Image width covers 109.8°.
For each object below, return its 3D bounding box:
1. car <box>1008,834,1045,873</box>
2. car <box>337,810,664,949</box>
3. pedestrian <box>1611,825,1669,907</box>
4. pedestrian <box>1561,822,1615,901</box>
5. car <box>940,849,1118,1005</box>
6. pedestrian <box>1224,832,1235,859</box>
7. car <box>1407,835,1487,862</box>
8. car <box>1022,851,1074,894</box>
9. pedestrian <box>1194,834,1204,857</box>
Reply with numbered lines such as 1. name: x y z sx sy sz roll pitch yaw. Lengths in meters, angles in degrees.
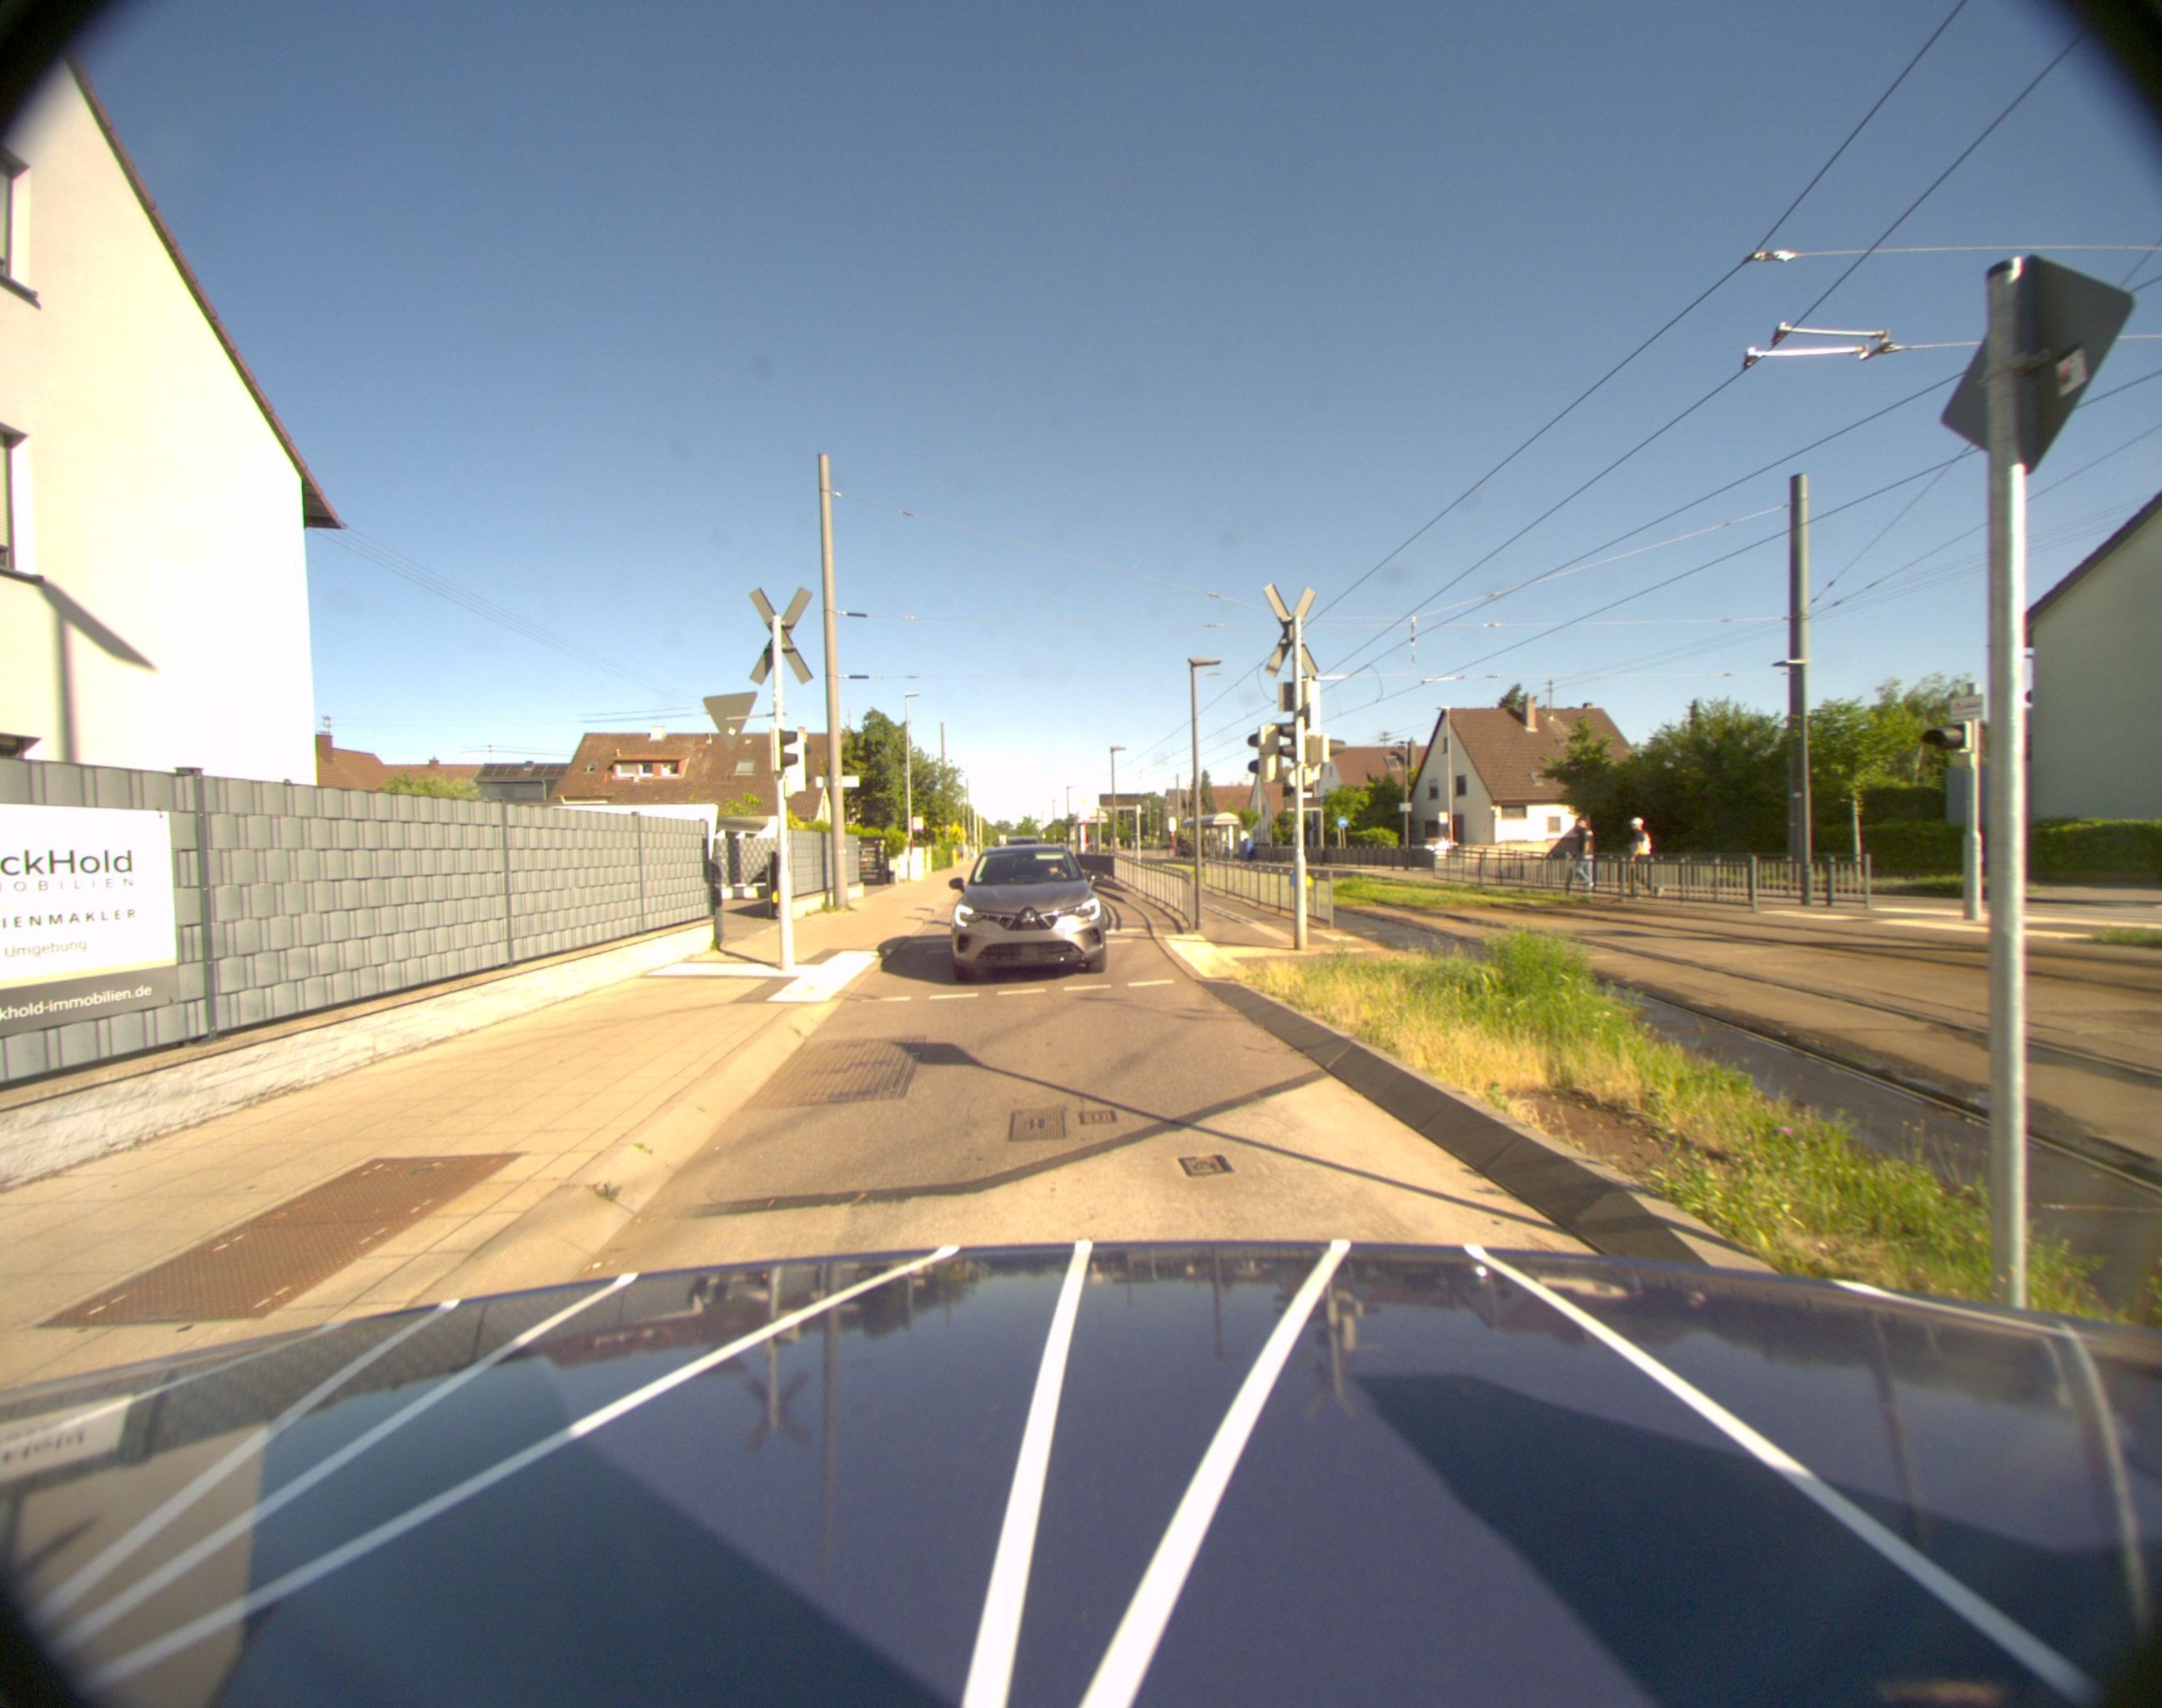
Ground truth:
1. car: -3.430 -0.049 48.070 2.090 2.226 4.719 -3 1 -4
2. car: -11.106 0.460 14.727 4.985 2.418 2.000 -1 3 9
3. pedestrian: 11.860 0.230 16.124 0.797 1.652 0.725 -5 4 -30
4. pedestrian: 11.887 0.165 17.810 0.690 1.761 0.823 -5 4 -30
5. car: -0.768 0.763 10.158 1.831 1.570 3.997 -3 1 -6
6. pedestrian: 9.556 -0.533 49.012 0.622 1.742 0.442 -1 1 15
7. car: 22.497 -0.372 46.833 3.991 1.526 1.998 -2 1 -8
8. car: -1.236 0.613 27.718 1.688 1.379 3.998 -3 1 -4
9. pedestrian: 8.736 -0.631 56.206 0.535 1.742 0.543 -2 1 -5
